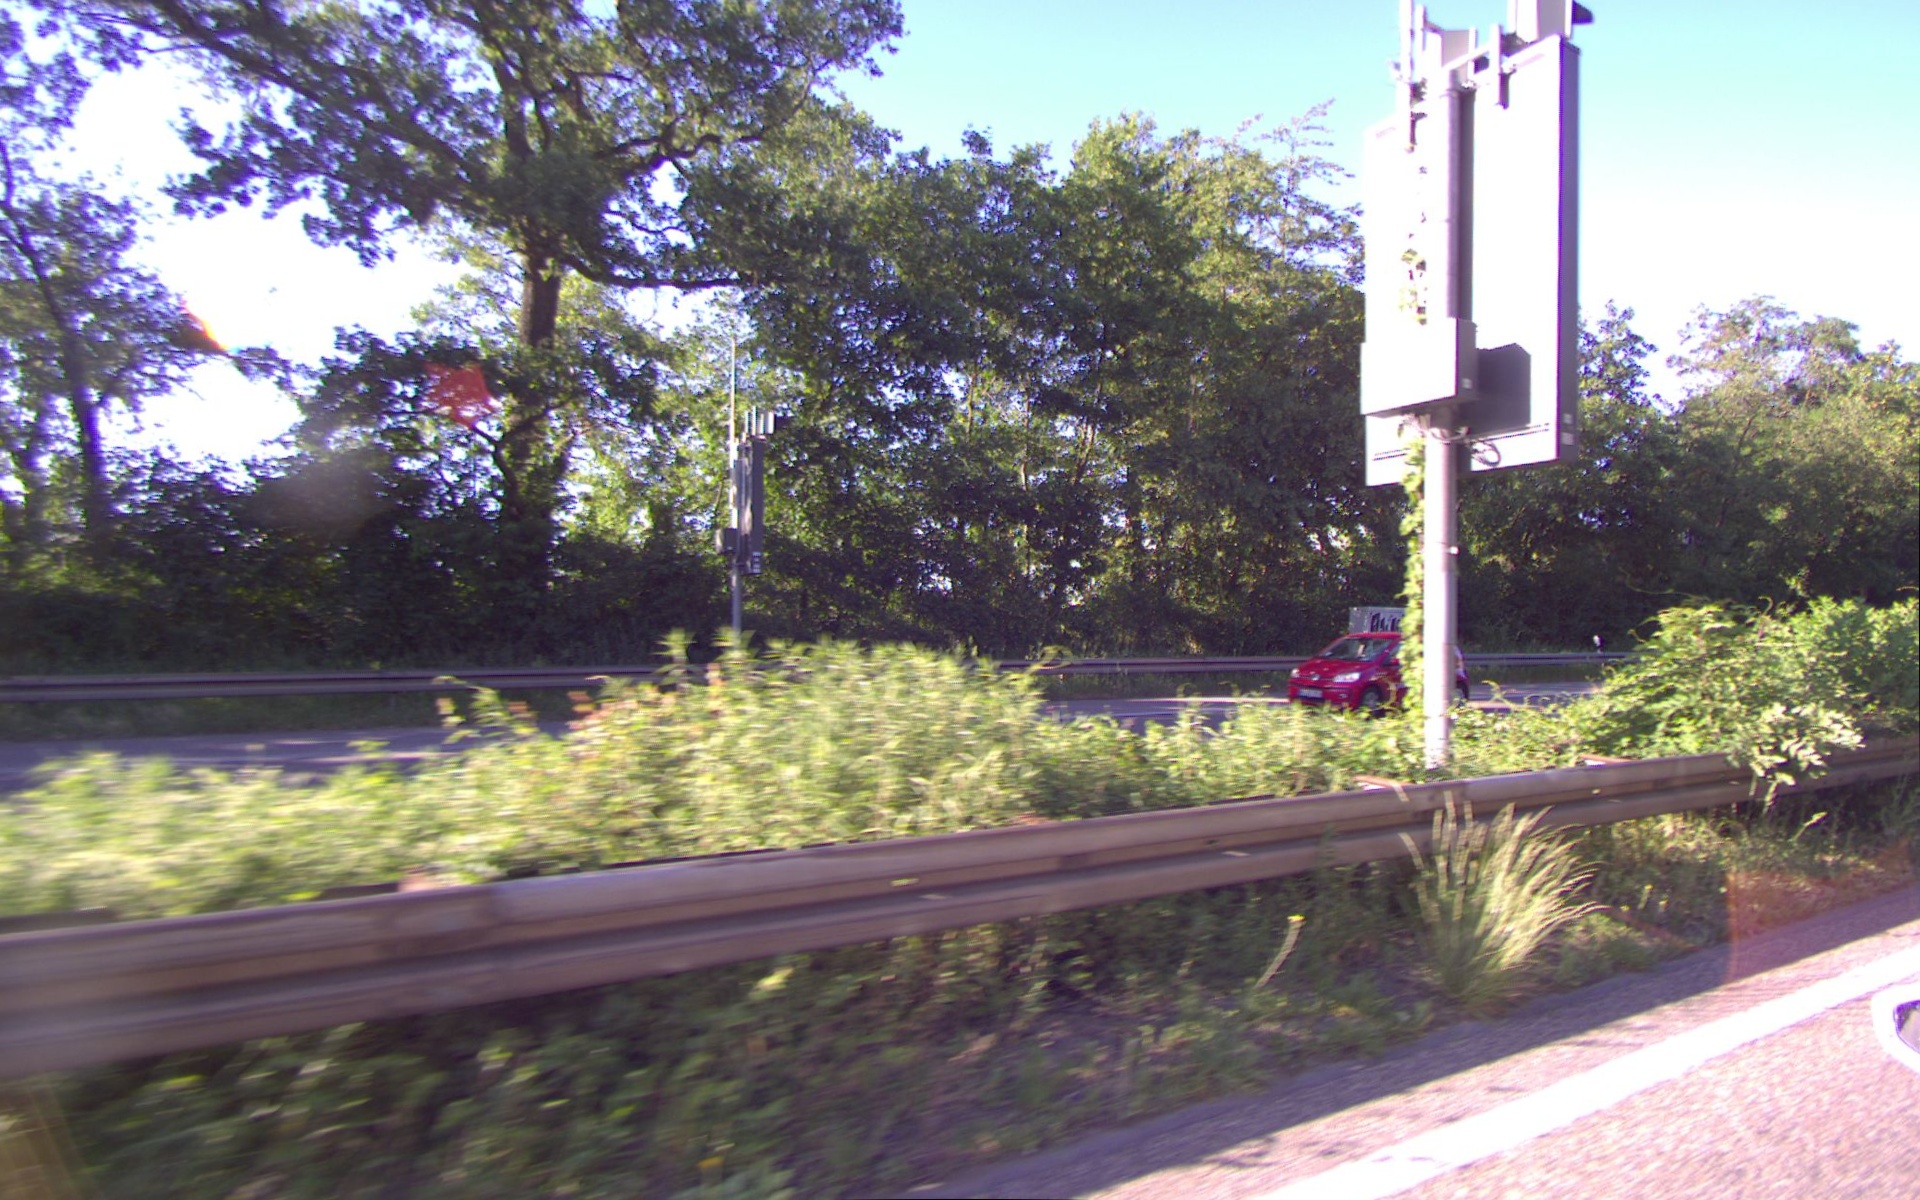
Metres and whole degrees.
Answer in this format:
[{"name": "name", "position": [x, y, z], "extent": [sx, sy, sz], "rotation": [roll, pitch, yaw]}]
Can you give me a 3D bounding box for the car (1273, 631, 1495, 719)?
[{"name": "car", "position": [7.845, 1.310, 18.516], "extent": [4.084, 1.443, 1.700], "rotation": [1, -1, -31]}]
